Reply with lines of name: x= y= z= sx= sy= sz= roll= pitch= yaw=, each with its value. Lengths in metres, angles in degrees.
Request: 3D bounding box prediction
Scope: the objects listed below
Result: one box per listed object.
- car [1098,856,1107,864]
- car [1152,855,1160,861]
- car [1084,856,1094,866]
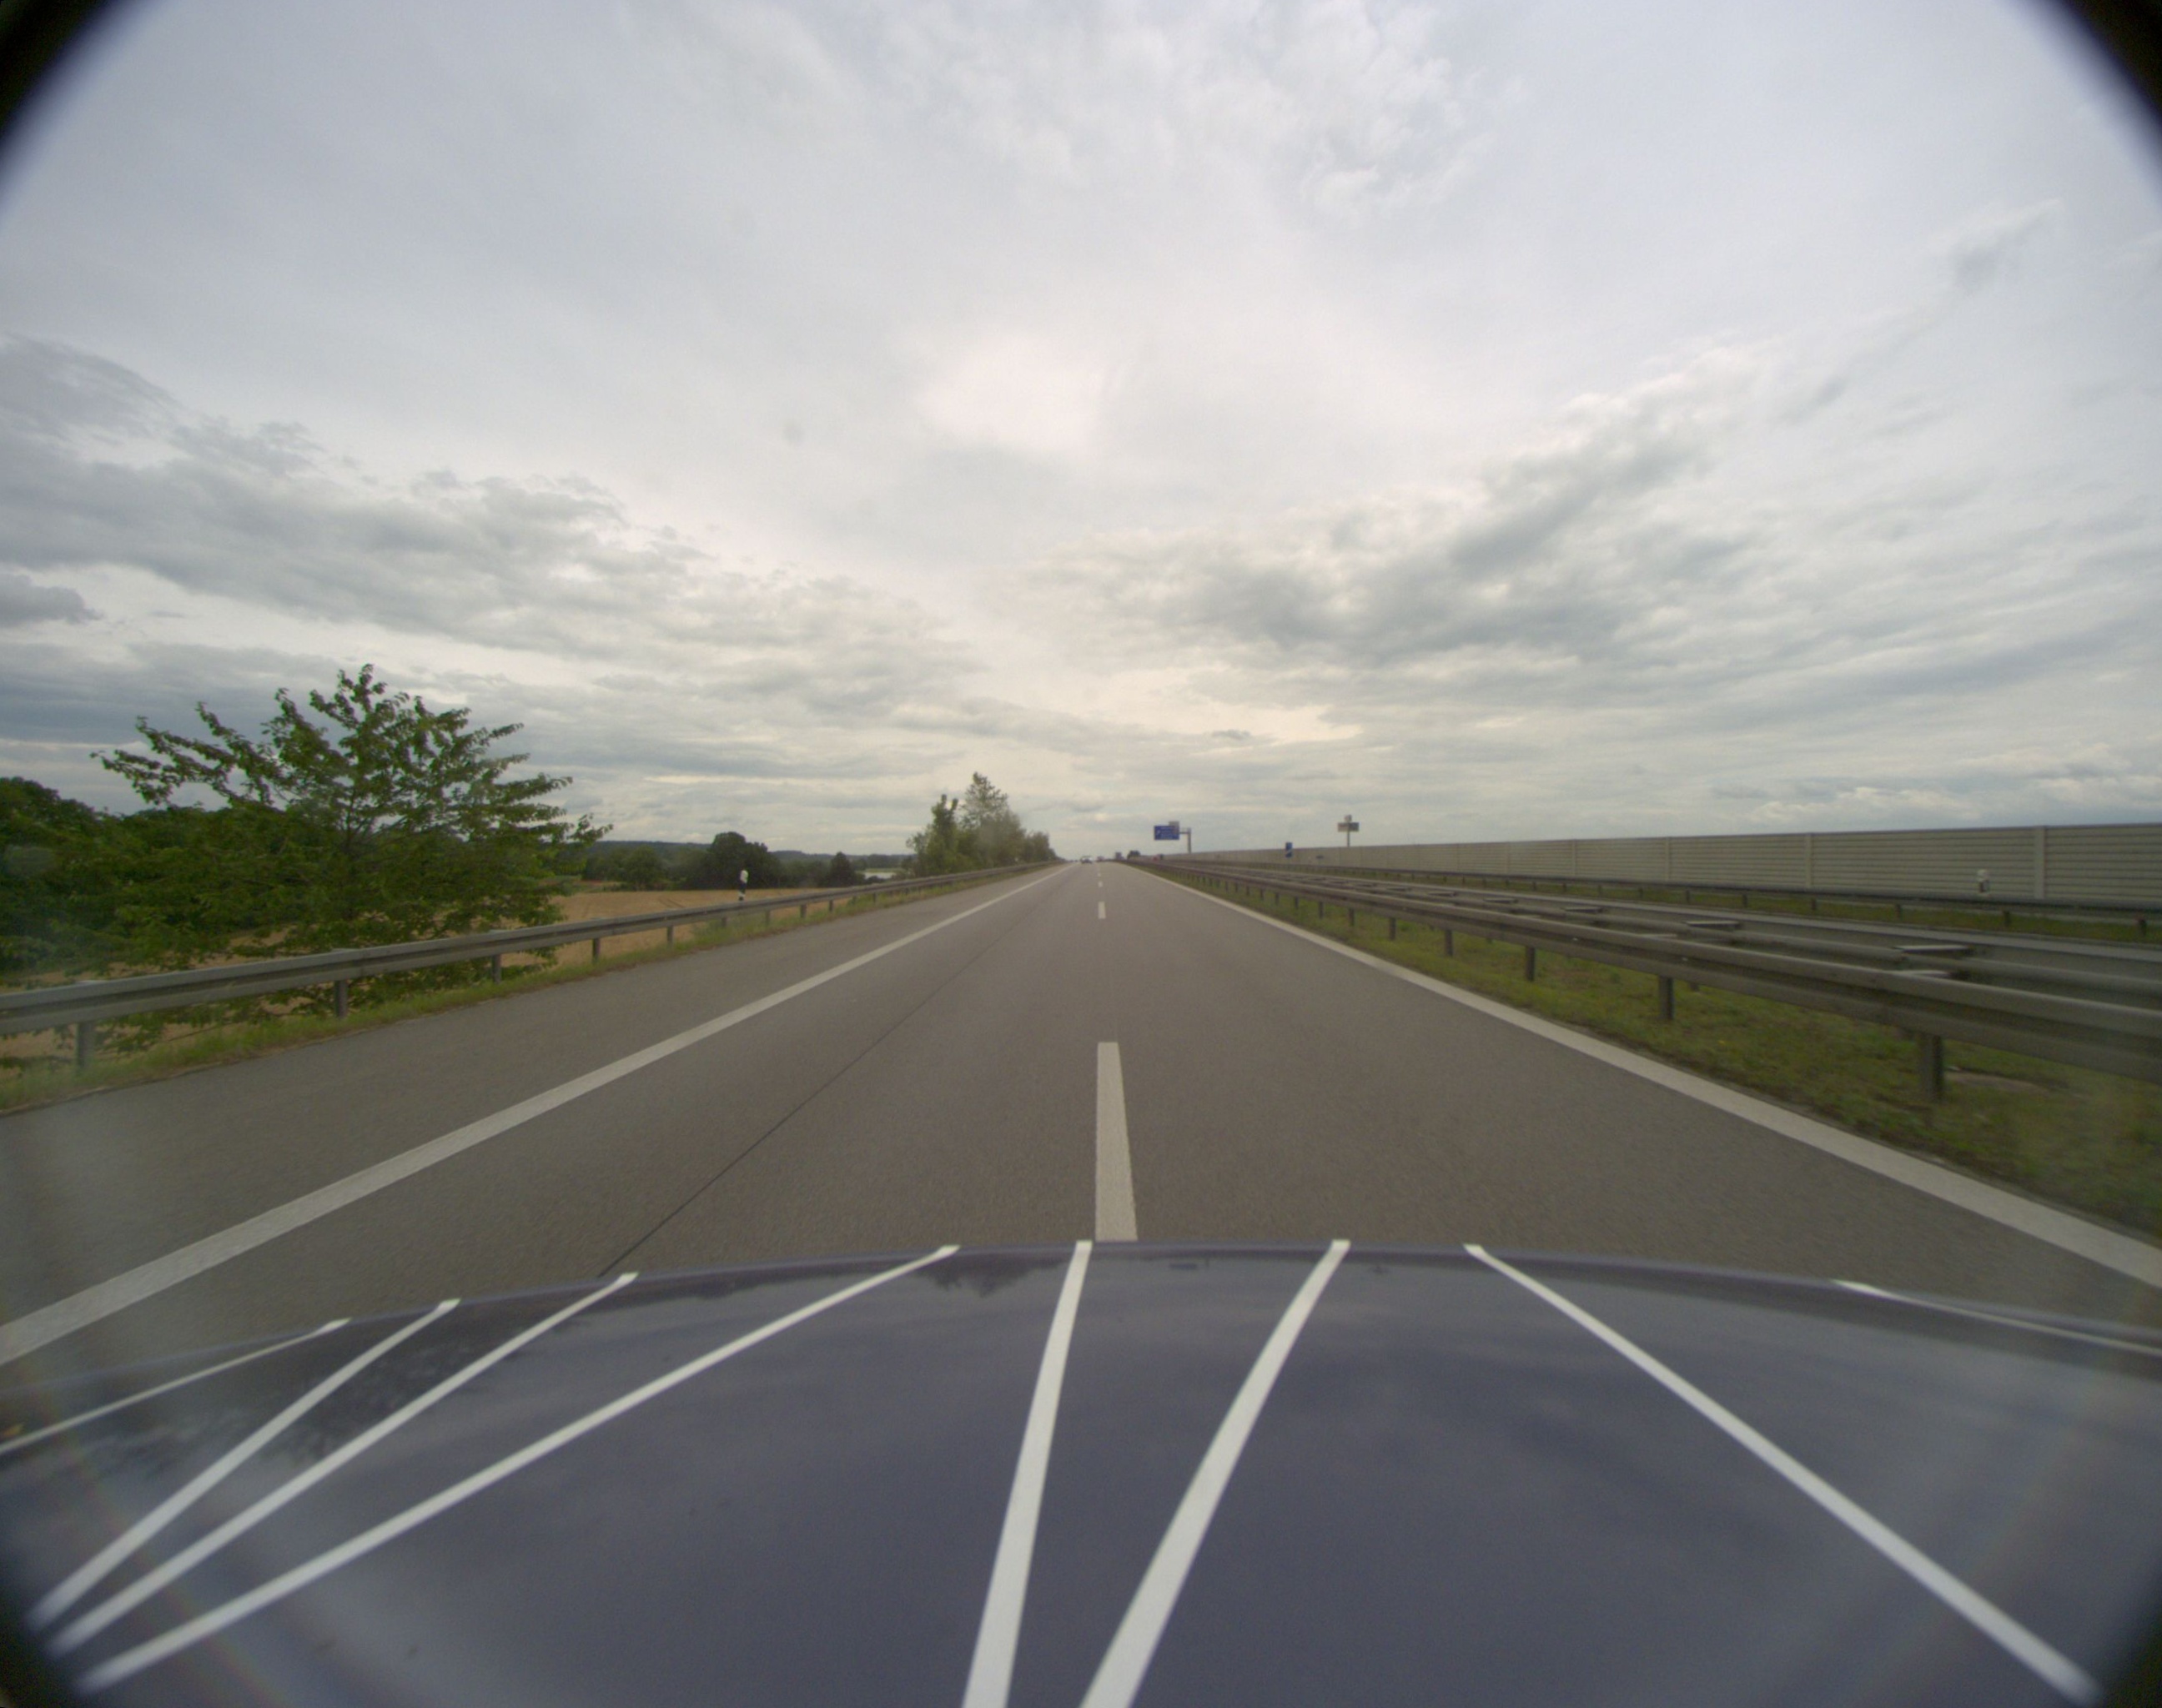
car: x=4.973 y=1.368 z=177.724 sx=1.850 sy=1.664 sz=4.200 roll=0 pitch=-2 yaw=0
car: x=18.637 y=1.010 z=189.405 sx=1.662 sy=1.321 sz=4.609 roll=3 pitch=0 yaw=1
car: x=1.503 y=1.270 z=139.964 sx=1.850 sy=1.664 sz=4.200 roll=0 pitch=-2 yaw=0
